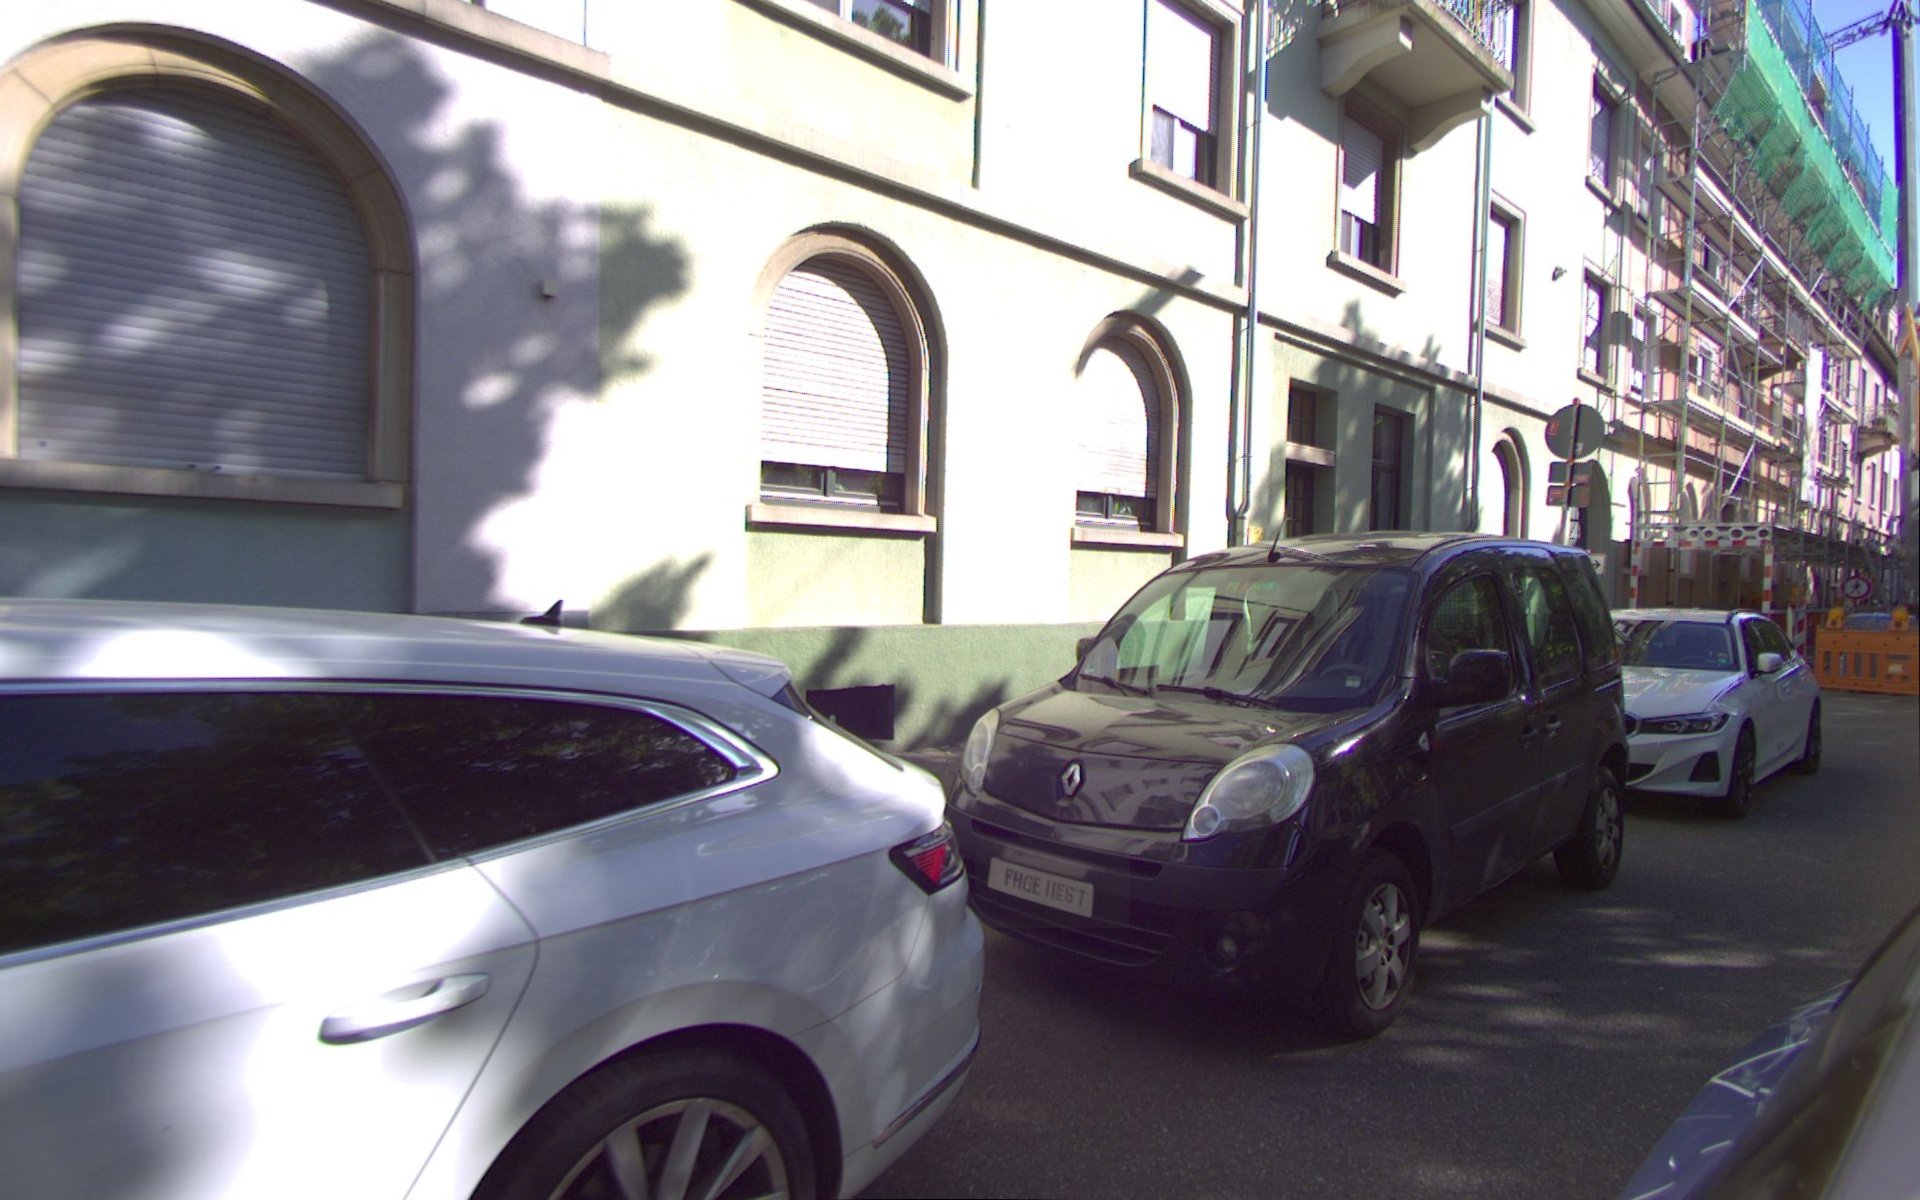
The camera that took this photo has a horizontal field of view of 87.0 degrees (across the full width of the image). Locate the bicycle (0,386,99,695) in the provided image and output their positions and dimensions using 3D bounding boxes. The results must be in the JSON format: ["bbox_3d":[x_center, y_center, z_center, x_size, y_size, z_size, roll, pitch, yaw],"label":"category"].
[{"bbox_3d":[-4.367,-0.232,3.627,1.949,1.196,0.395,0,1,-41],"label":"bicycle"}]

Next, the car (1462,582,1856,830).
[{"bbox_3d":[5.973,0.650,8.442,4.209,1.530,1.708,0,2,-41],"label":"car"}]

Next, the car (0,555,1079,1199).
[{"bbox_3d":[-1.938,0.655,1.330,4.491,1.437,1.609,0,2,-43],"label":"car"}]

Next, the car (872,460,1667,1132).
[{"bbox_3d":[1.695,0.487,4.713,3.922,1.816,1.774,0,2,-42],"label":"car"}]

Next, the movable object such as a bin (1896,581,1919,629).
[{"bbox_3d":[32.394,0.193,33.153,1.595,1.545,1.880,1,2,-7],"label":"movable object such as a bin"}]
